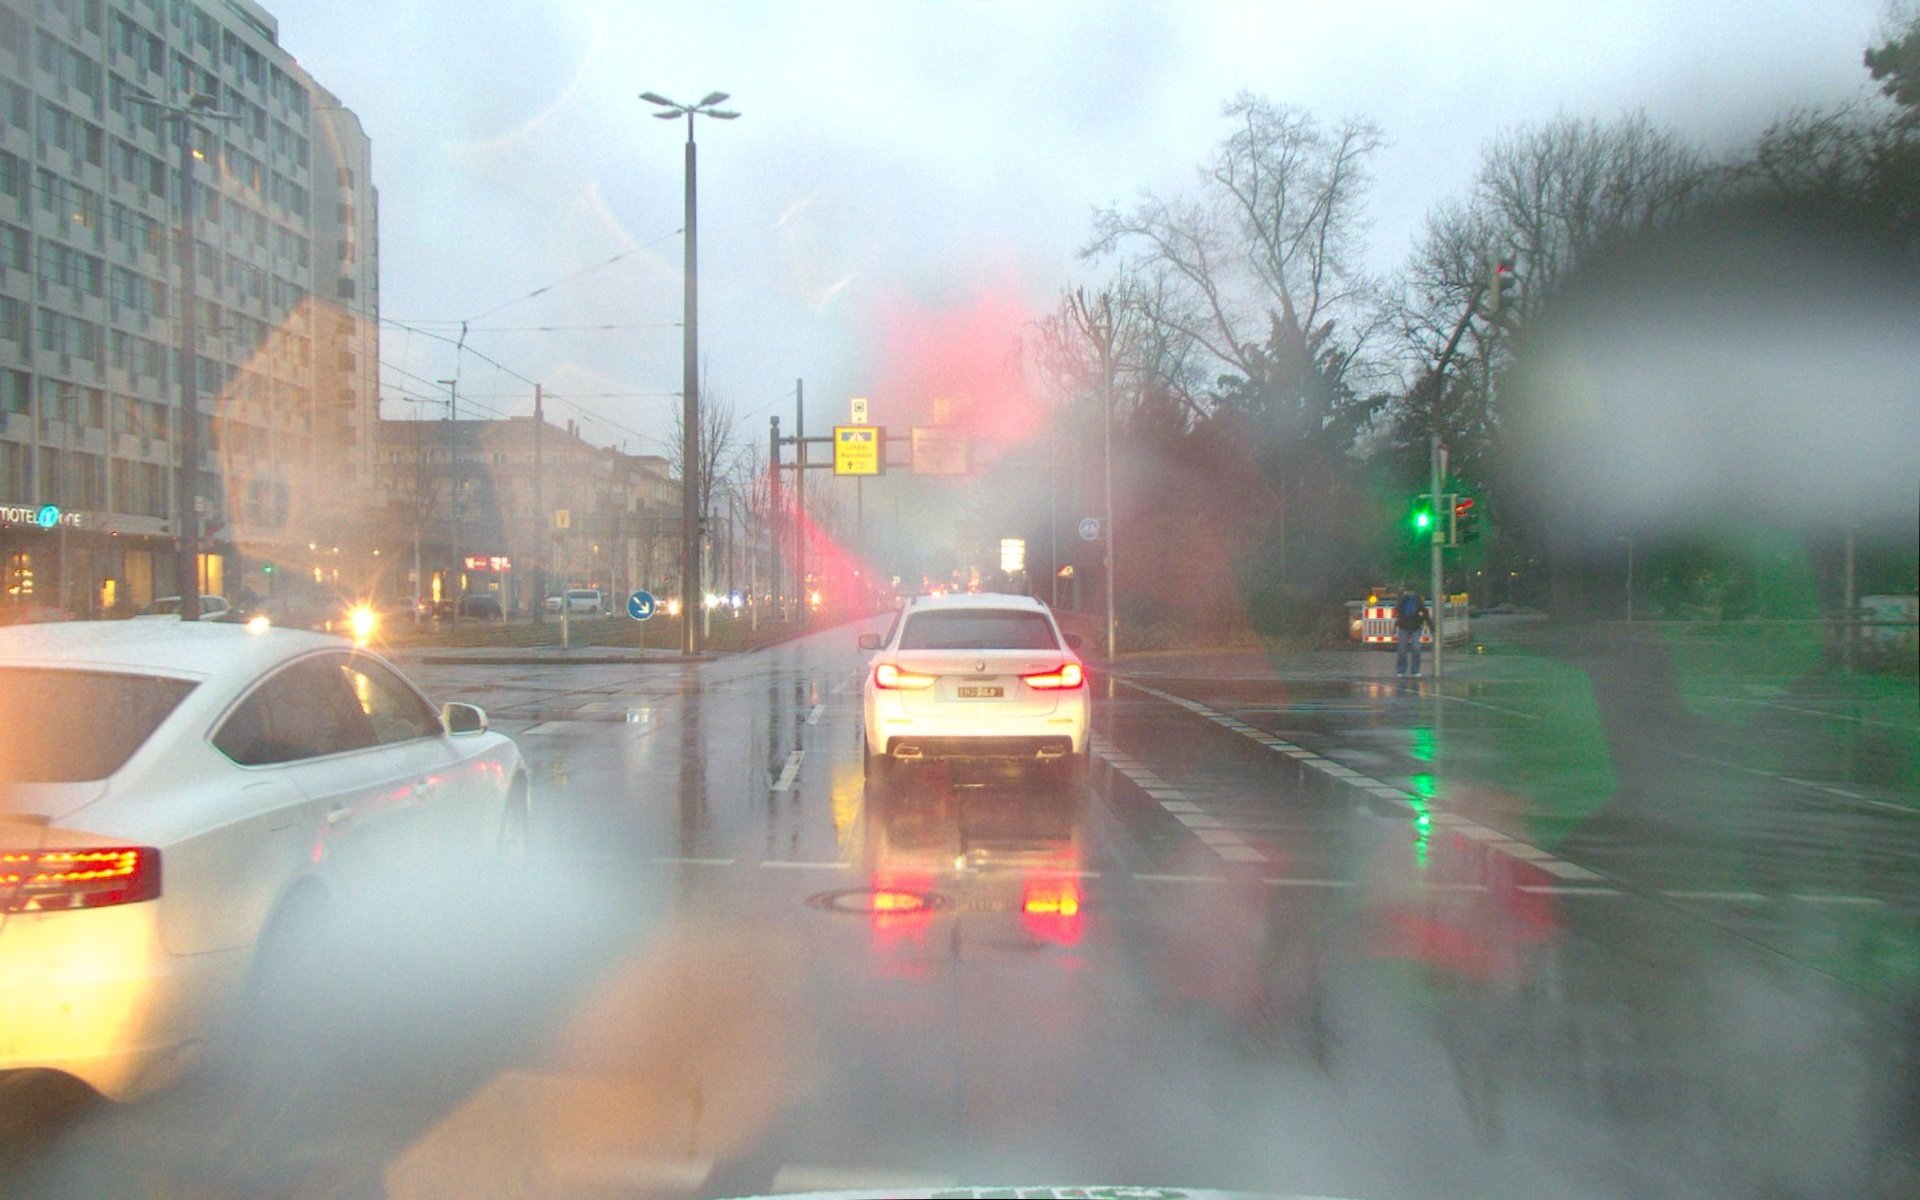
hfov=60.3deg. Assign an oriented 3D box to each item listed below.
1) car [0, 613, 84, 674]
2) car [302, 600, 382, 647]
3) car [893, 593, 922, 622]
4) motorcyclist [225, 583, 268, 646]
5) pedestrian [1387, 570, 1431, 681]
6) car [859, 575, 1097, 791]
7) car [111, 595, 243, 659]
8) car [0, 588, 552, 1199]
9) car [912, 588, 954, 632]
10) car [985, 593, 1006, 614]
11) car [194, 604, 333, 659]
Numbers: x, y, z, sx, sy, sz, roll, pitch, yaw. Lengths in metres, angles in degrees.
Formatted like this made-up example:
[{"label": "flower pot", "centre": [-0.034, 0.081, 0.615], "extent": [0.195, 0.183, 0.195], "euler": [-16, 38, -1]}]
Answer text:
[{"label": "car", "centre": [-27.050, 1.201, 47.303], "extent": [1.843, 1.601, 3.999], "euler": [1, 0, -1]}, {"label": "car", "centre": [-20.730, 0.759, 55.659], "extent": [1.960, 1.487, 5.075], "euler": [1, 0, -15]}, {"label": "car", "centre": [-3.797, 0.557, 119.849], "extent": [1.953, 2.049, 3.999], "euler": [1, 0, -1]}, {"label": "motorcyclist", "centre": [-22.153, 0.453, 51.393], "extent": [0.853, 1.918, 1.033], "euler": [1, 0, -1]}, {"label": "pedestrian", "centre": [7.860, 0.438, 28.948], "extent": [0.698, 1.912, 0.675], "euler": [1, 0, 18]}, {"label": "car", "centre": [0.009, 0.616, 14.363], "extent": [1.725, 1.580, 4.248], "euler": [1, 0, -4]}, {"label": "car", "centre": [-23.631, 0.784, 50.093], "extent": [1.843, 1.821, 4.597], "euler": [1, 0, -1]}, {"label": "car", "centre": [-2.740, 0.715, 5.792], "extent": [1.724, 1.495, 4.249], "euler": [1, 0, -3]}, {"label": "car", "centre": [-1.283, 0.478, 79.669], "extent": [1.953, 2.049, 3.999], "euler": [1, 0, -1]}, {"label": "car", "centre": [3.480, 0.362, 162.840], "extent": [1.953, 2.049, 3.999], "euler": [1, 0, -1]}, {"label": "car", "centre": [-20.418, 0.876, 48.732], "extent": [1.953, 1.487, 5.094], "euler": [1, 0, -1]}]
